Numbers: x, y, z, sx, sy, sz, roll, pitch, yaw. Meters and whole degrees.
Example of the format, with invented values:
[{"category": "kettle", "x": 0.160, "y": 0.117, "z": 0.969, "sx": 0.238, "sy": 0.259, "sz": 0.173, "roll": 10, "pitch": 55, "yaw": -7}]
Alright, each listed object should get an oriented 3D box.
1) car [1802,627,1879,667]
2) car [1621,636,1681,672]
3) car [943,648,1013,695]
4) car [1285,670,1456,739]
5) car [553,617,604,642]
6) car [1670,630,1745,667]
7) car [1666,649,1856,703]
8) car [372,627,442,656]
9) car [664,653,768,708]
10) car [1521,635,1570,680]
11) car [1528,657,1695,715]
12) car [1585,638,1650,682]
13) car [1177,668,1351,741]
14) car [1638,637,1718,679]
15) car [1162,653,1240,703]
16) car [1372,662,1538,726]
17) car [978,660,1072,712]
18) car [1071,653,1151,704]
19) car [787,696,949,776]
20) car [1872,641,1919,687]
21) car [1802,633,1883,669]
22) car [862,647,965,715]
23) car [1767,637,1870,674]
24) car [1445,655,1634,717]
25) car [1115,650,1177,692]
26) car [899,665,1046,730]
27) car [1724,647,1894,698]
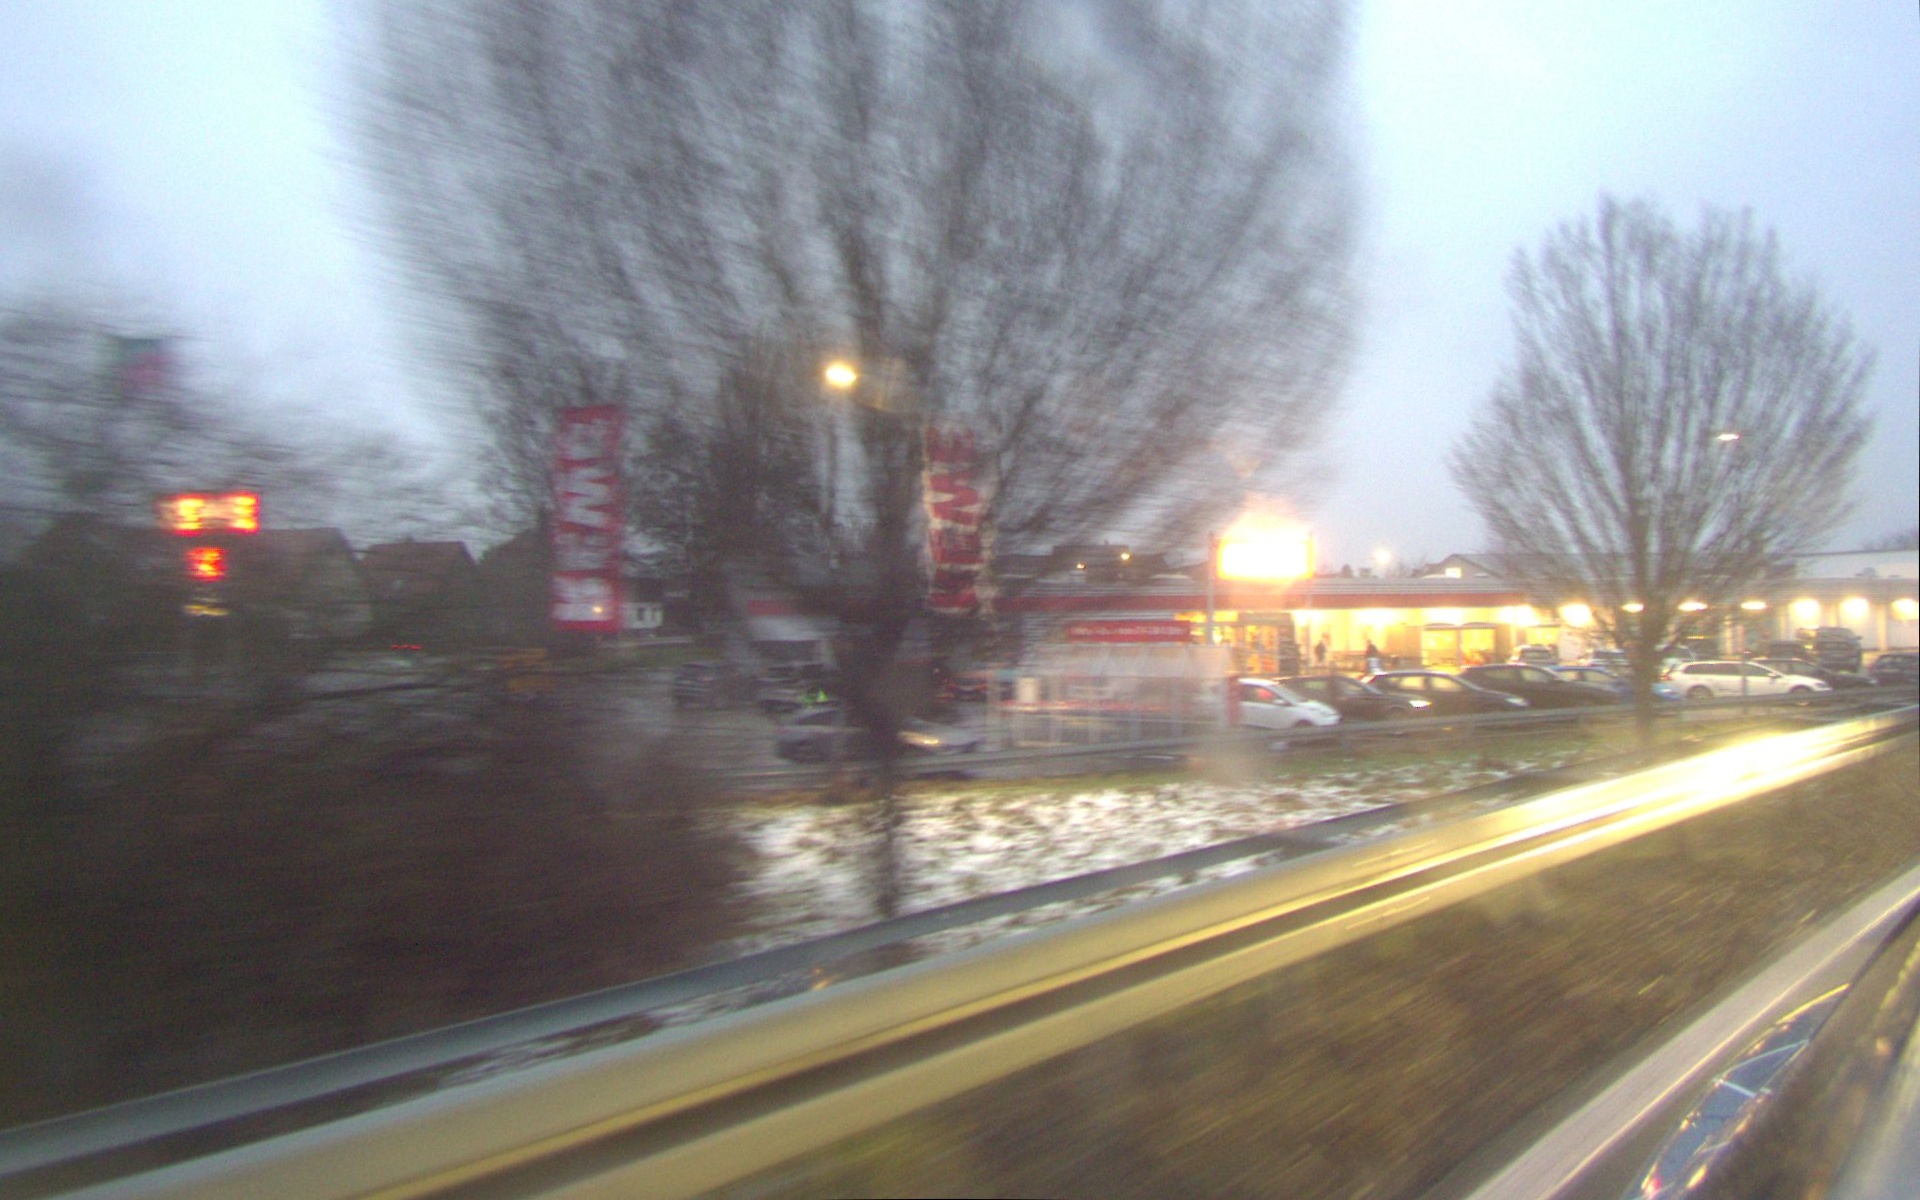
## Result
[{"category": "car", "x": 46.098, "y": 2.420, "z": 53.096, "sx": 1.870, "sy": 1.983, "sz": 4.911, "roll": -2, "pitch": -2, "yaw": 28}, {"category": "car", "x": 33.175, "y": 2.551, "z": 48.666, "sx": 1.709, "sy": 1.520, "sz": 3.992, "roll": 0, "pitch": 0, "yaw": 25}, {"category": "car", "x": 0.734, "y": 2.679, "z": 38.489, "sx": 1.549, "sy": 1.504, "sz": 3.737, "roll": 0, "pitch": 0, "yaw": 19}, {"category": "car", "x": 10.523, "y": 2.637, "z": 25.994, "sx": 3.960, "sy": 1.438, "sz": 1.617, "roll": 0, "pitch": 0, "yaw": 26}, {"category": "car", "x": -33.184, "y": 2.511, "z": 88.110, "sx": 1.968, "sy": 1.969, "sz": 4.843, "roll": 0, "pitch": 1, "yaw": 10}, {"category": "car", "x": 36.711, "y": 2.361, "z": 49.812, "sx": 1.777, "sy": 1.615, "sz": 3.957, "roll": 0, "pitch": 0, "yaw": 17}, {"category": "car", "x": 25.954, "y": 2.423, "z": 33.040, "sx": 4.669, "sy": 1.414, "sz": 1.882, "roll": 0, "pitch": 1, "yaw": 33}, {"category": "car", "x": -35.205, "y": 2.614, "z": 64.549, "sx": 1.911, "sy": 1.682, "sz": 3.990, "roll": 0, "pitch": 0, "yaw": 9}, {"category": "car", "x": -8.619, "y": 2.810, "z": 36.040, "sx": 1.553, "sy": 1.633, "sz": 3.805, "roll": 0, "pitch": 0, "yaw": 25}, {"category": "car", "x": 24.219, "y": 2.334, "z": 41.822, "sx": 1.587, "sy": 1.606, "sz": 3.590, "roll": -1, "pitch": 0, "yaw": 32}, {"category": "car", "x": 19.620, "y": 2.559, "z": 30.710, "sx": 4.145, "sy": 1.414, "sz": 1.884, "roll": 0, "pitch": 1, "yaw": 30}, {"category": "car", "x": 27.394, "y": 2.446, "z": 42.269, "sx": 1.788, "sy": 1.555, "sz": 4.500, "roll": -1, "pitch": 0, "yaw": 27}, {"category": "car", "x": 7.626, "y": 2.559, "z": 25.383, "sx": 3.960, "sy": 1.457, "sz": 1.781, "roll": 0, "pitch": 0, "yaw": 26}, {"category": "car", "x": 31.052, "y": 2.462, "z": 43.908, "sx": 1.805, "sy": 1.660, "sz": 4.436, "roll": 0, "pitch": -2, "yaw": 22}, {"category": "car", "x": 8.755, "y": 2.747, "z": 36.499, "sx": 1.730, "sy": 1.443, "sz": 4.274, "roll": 0, "pitch": 0, "yaw": 28}, {"category": "car", "x": 13.448, "y": 2.526, "z": 27.667, "sx": 3.960, "sy": 1.438, "sz": 1.617, "roll": 0, "pitch": 0, "yaw": 26}, {"category": "car", "x": 2.280, "y": 2.883, "z": 34.619, "sx": 1.558, "sy": 1.448, "sz": 3.715, "roll": 0, "pitch": 0, "yaw": 34}, {"category": "car", "x": 5.295, "y": 2.687, "z": 35.205, "sx": 1.555, "sy": 1.448, "sz": 3.722, "roll": 0, "pitch": 0, "yaw": 30}, {"category": "car", "x": -1.948, "y": 2.818, "z": 21.391, "sx": 3.175, "sy": 1.330, "sz": 1.379, "roll": 0, "pitch": 0, "yaw": 25}, {"category": "car", "x": 34.626, "y": 2.228, "z": 35.912, "sx": 3.731, "sy": 1.447, "sz": 1.777, "roll": -1, "pitch": 0, "yaw": -19}, {"category": "car", "x": 41.046, "y": 2.333, "z": 47.150, "sx": 1.698, "sy": 1.536, "sz": 3.237, "roll": -1, "pitch": -1, "yaw": 19}, {"category": "car", "x": -1.458, "y": 2.585, "z": 33.282, "sx": 1.705, "sy": 1.892, "sz": 4.000, "roll": 0, "pitch": 0, "yaw": 25}, {"category": "car", "x": 37.719, "y": 2.413, "z": 44.529, "sx": 3.233, "sy": 1.555, "sz": 1.376, "roll": -2, "pitch": -2, "yaw": 33}, {"category": "car", "x": 16.546, "y": 2.423, "z": 29.147, "sx": 4.546, "sy": 1.473, "sz": 1.912, "roll": -1, "pitch": 0, "yaw": 29}, {"category": "car", "x": 7.459, "y": 2.794, "z": 40.277, "sx": 1.552, "sy": 1.369, "sz": 3.806, "roll": 0, "pitch": 0, "yaw": 25}, {"category": "car", "x": 0.347, "y": 2.814, "z": 29.679, "sx": 3.950, "sy": 1.622, "sz": 1.727, "roll": 0, "pitch": 0, "yaw": -19}, {"category": "car", "x": 28.455, "y": 2.385, "z": 34.102, "sx": 4.149, "sy": 1.414, "sz": 1.830, "roll": 0, "pitch": 1, "yaw": 33}]
